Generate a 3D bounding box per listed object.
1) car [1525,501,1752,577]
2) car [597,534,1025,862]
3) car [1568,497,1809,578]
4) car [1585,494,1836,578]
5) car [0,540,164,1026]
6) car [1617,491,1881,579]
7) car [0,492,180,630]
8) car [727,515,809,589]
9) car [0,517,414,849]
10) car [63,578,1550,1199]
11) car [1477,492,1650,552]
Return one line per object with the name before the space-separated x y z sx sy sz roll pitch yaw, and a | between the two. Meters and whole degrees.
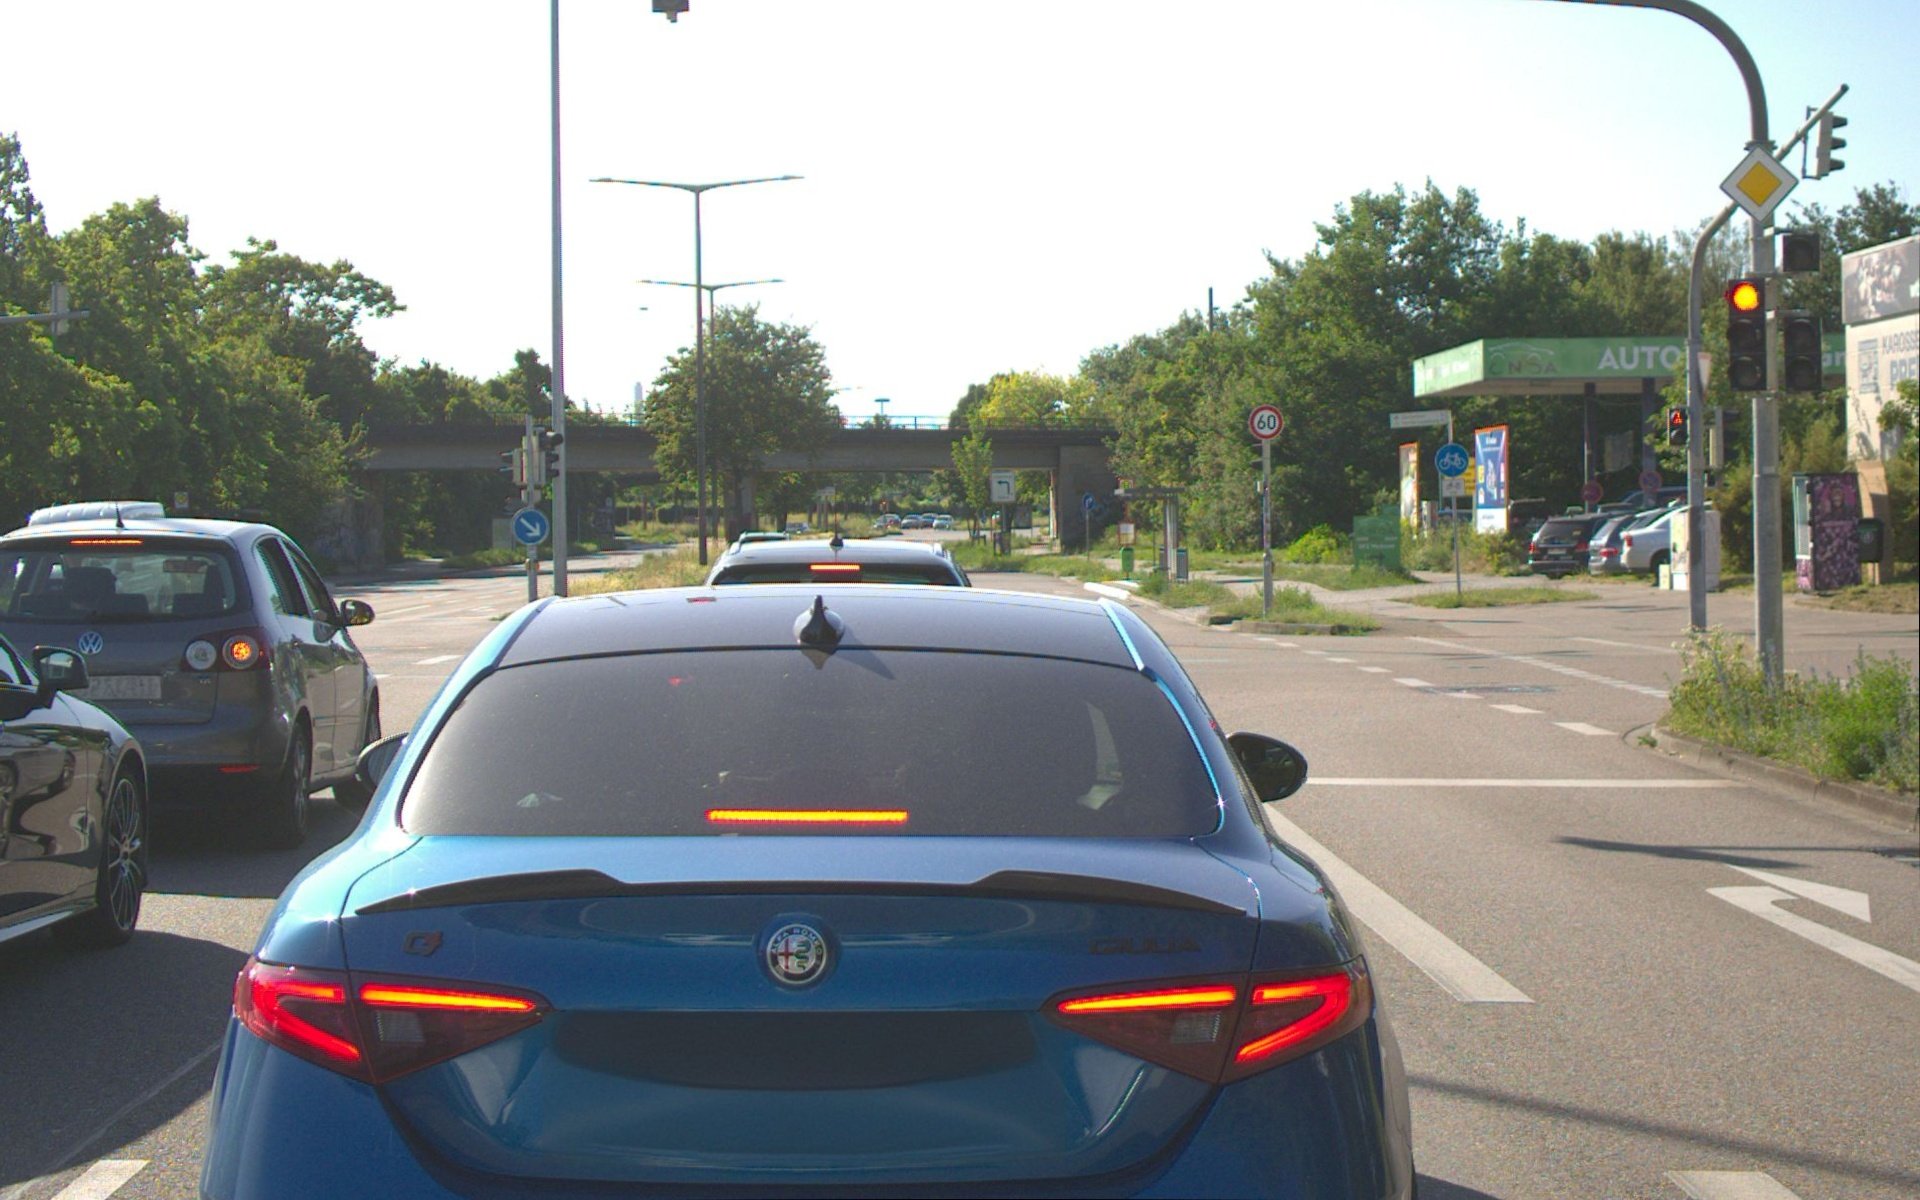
car | 14.601 -1.319 74.156 4.489 1.449 1.858 -2 1 1
car | -0.715 0.408 17.245 1.850 1.413 4.403 1 1 -2
car | 14.820 -1.271 70.106 4.489 1.449 1.858 -2 1 1
car | 14.664 -1.254 67.352 4.489 1.449 1.858 -2 1 1
car | -3.827 0.545 10.622 1.796 1.485 4.476 1 1 -2
car | 14.780 -1.215 64.573 4.489 1.449 1.858 -2 1 1
car | -16.852 -0.773 66.814 2.022 2.439 5.822 -4 1 -1
car | -4.889 -1.223 87.769 1.891 1.809 4.000 1 1 -1
car | -3.991 0.350 17.721 1.759 1.485 4.403 1 1 -2
car | -0.260 0.685 6.612 1.895 1.413 4.403 1 1 -2
car | 17.050 -2.203 97.320 4.551 1.485 1.765 -2 1 1
